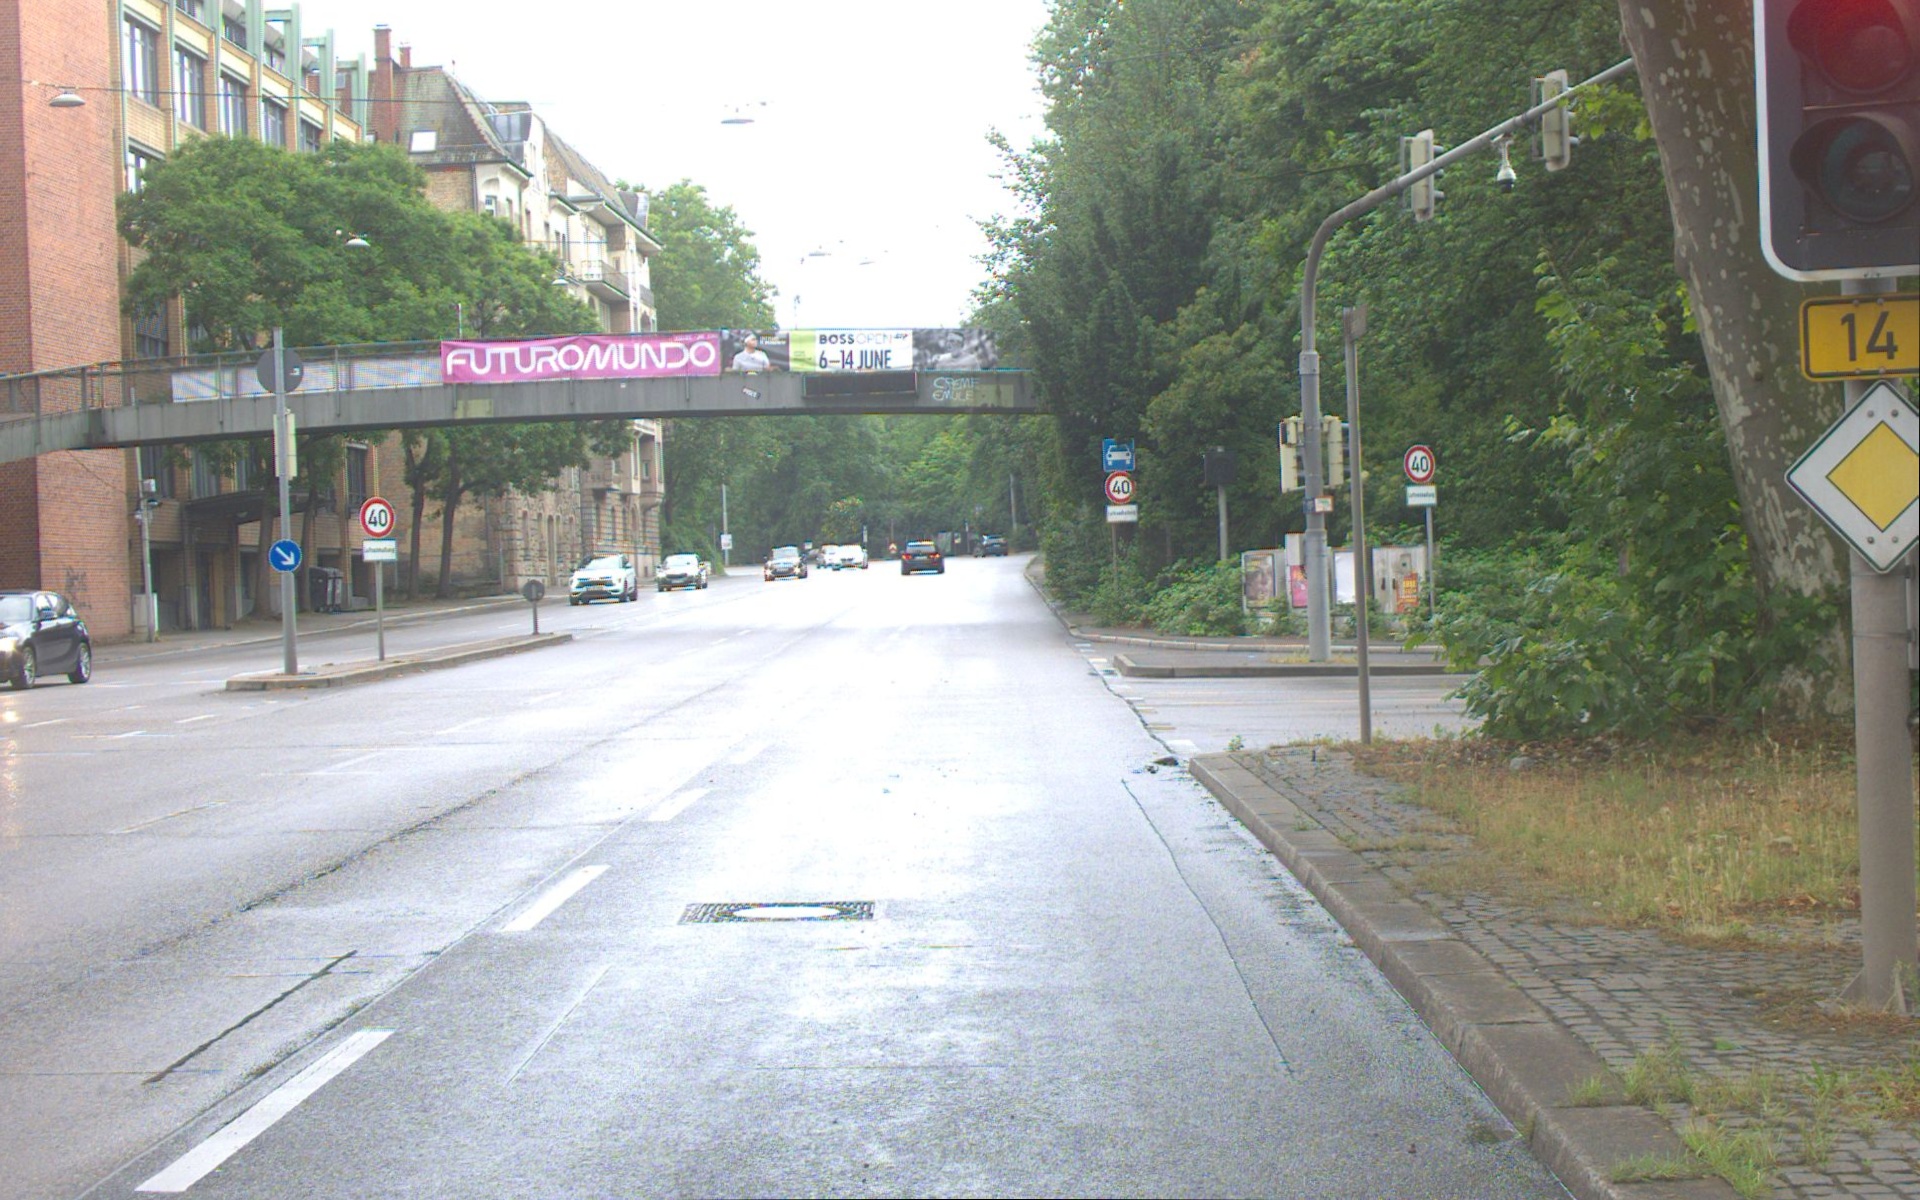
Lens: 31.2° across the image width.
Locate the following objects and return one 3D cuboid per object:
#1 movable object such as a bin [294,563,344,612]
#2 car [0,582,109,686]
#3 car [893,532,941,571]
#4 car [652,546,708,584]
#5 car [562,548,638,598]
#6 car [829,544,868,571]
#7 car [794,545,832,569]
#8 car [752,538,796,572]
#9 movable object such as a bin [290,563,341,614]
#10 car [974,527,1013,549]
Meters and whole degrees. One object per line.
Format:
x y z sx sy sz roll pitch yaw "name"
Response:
-20.237 -0.402 108.541 1.299 1.513 1.214 -1 1 1 "movable object such as a bin"
-13.740 0.491 49.519 1.686 1.414 4.214 -2 0 3 "car"
-1.907 -2.118 151.674 2.004 1.638 4.376 -2 1 -2 "car"
-11.419 -1.433 140.320 1.709 1.459 4.041 -2 0 3 "car"
-12.040 -0.908 115.253 1.890 1.604 4.456 -1 0 2 "car"
-6.141 -2.340 189.451 1.830 1.389 4.405 -3 0 1 "car"
-10.074 -2.968 235.556 1.600 1.494 3.712 -3 0 -18 "car"
-8.346 -2.006 154.509 1.683 1.431 3.862 -2 0 1 "car"
-20.083 -0.363 107.125 1.282 1.513 1.273 -1 1 1 "movable object such as a bin"
2.223 -4.169 231.749 1.842 1.448 3.778 1 1 -12 "car"
